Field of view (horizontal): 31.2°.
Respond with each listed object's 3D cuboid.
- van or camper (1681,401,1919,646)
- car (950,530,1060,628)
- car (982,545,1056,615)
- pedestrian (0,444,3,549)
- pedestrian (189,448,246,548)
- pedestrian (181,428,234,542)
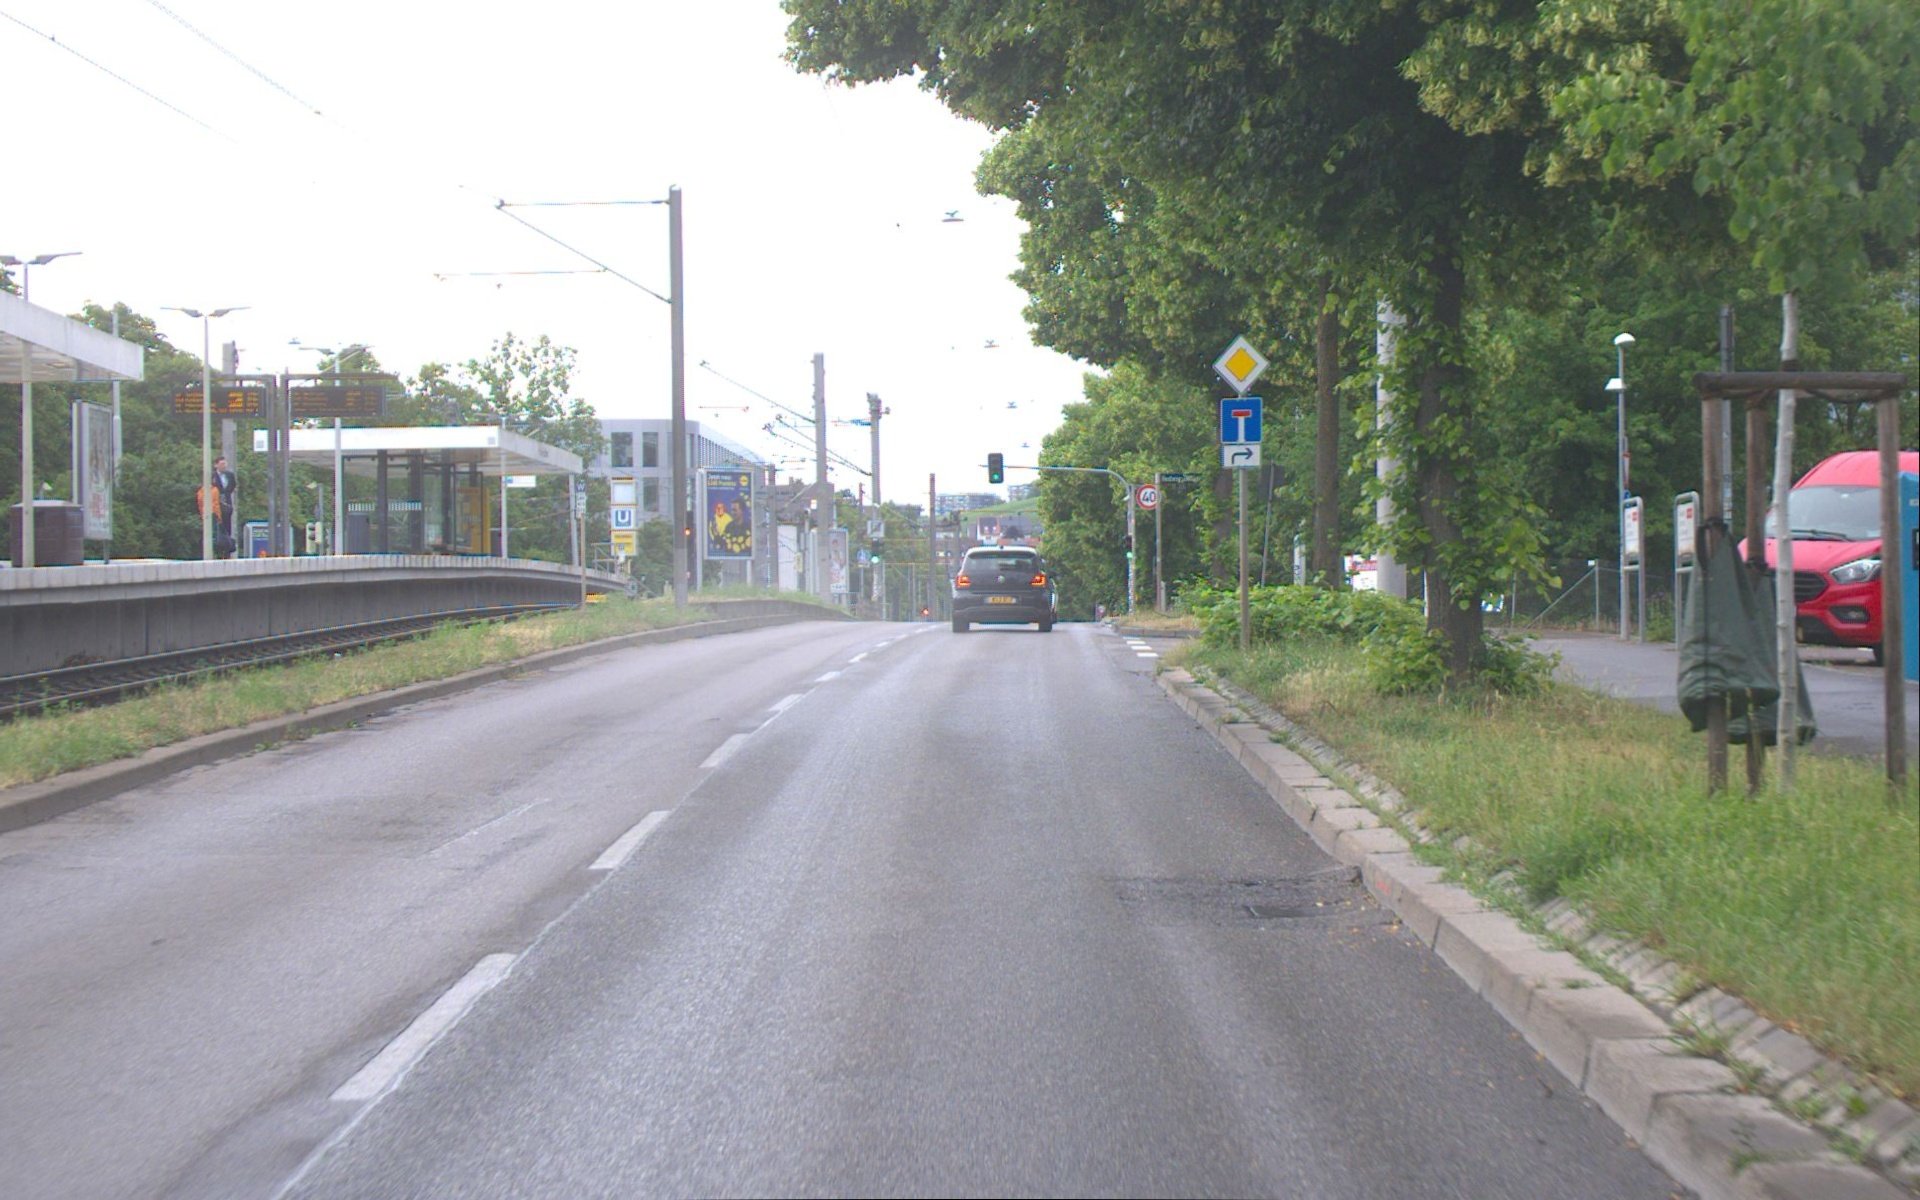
[{"bbox_3d":[10.229,-0.763,37.330,2.040,2.397,5.377,5,2,43],"label":"van or camper"},{"bbox_3d":[0.725,-0.390,58.376,1.726,1.535,4.001,0,2,-1],"label":"car"},{"bbox_3d":[1.366,-0.484,80.788,1.687,1.512,4.000,0,2,0],"label":"car"},{"bbox_3d":[-11.456,-1.193,39.561,0.710,1.221,0.619,0,1,1],"label":"pedestrian"},{"bbox_3d":[-12.448,-1.715,57.637,0.794,1.641,0.919,0,3,-20],"label":"pedestrian"},{"bbox_3d":[-12.792,-1.953,58.425,0.743,1.903,0.842,0,3,-20],"label":"pedestrian"}]
